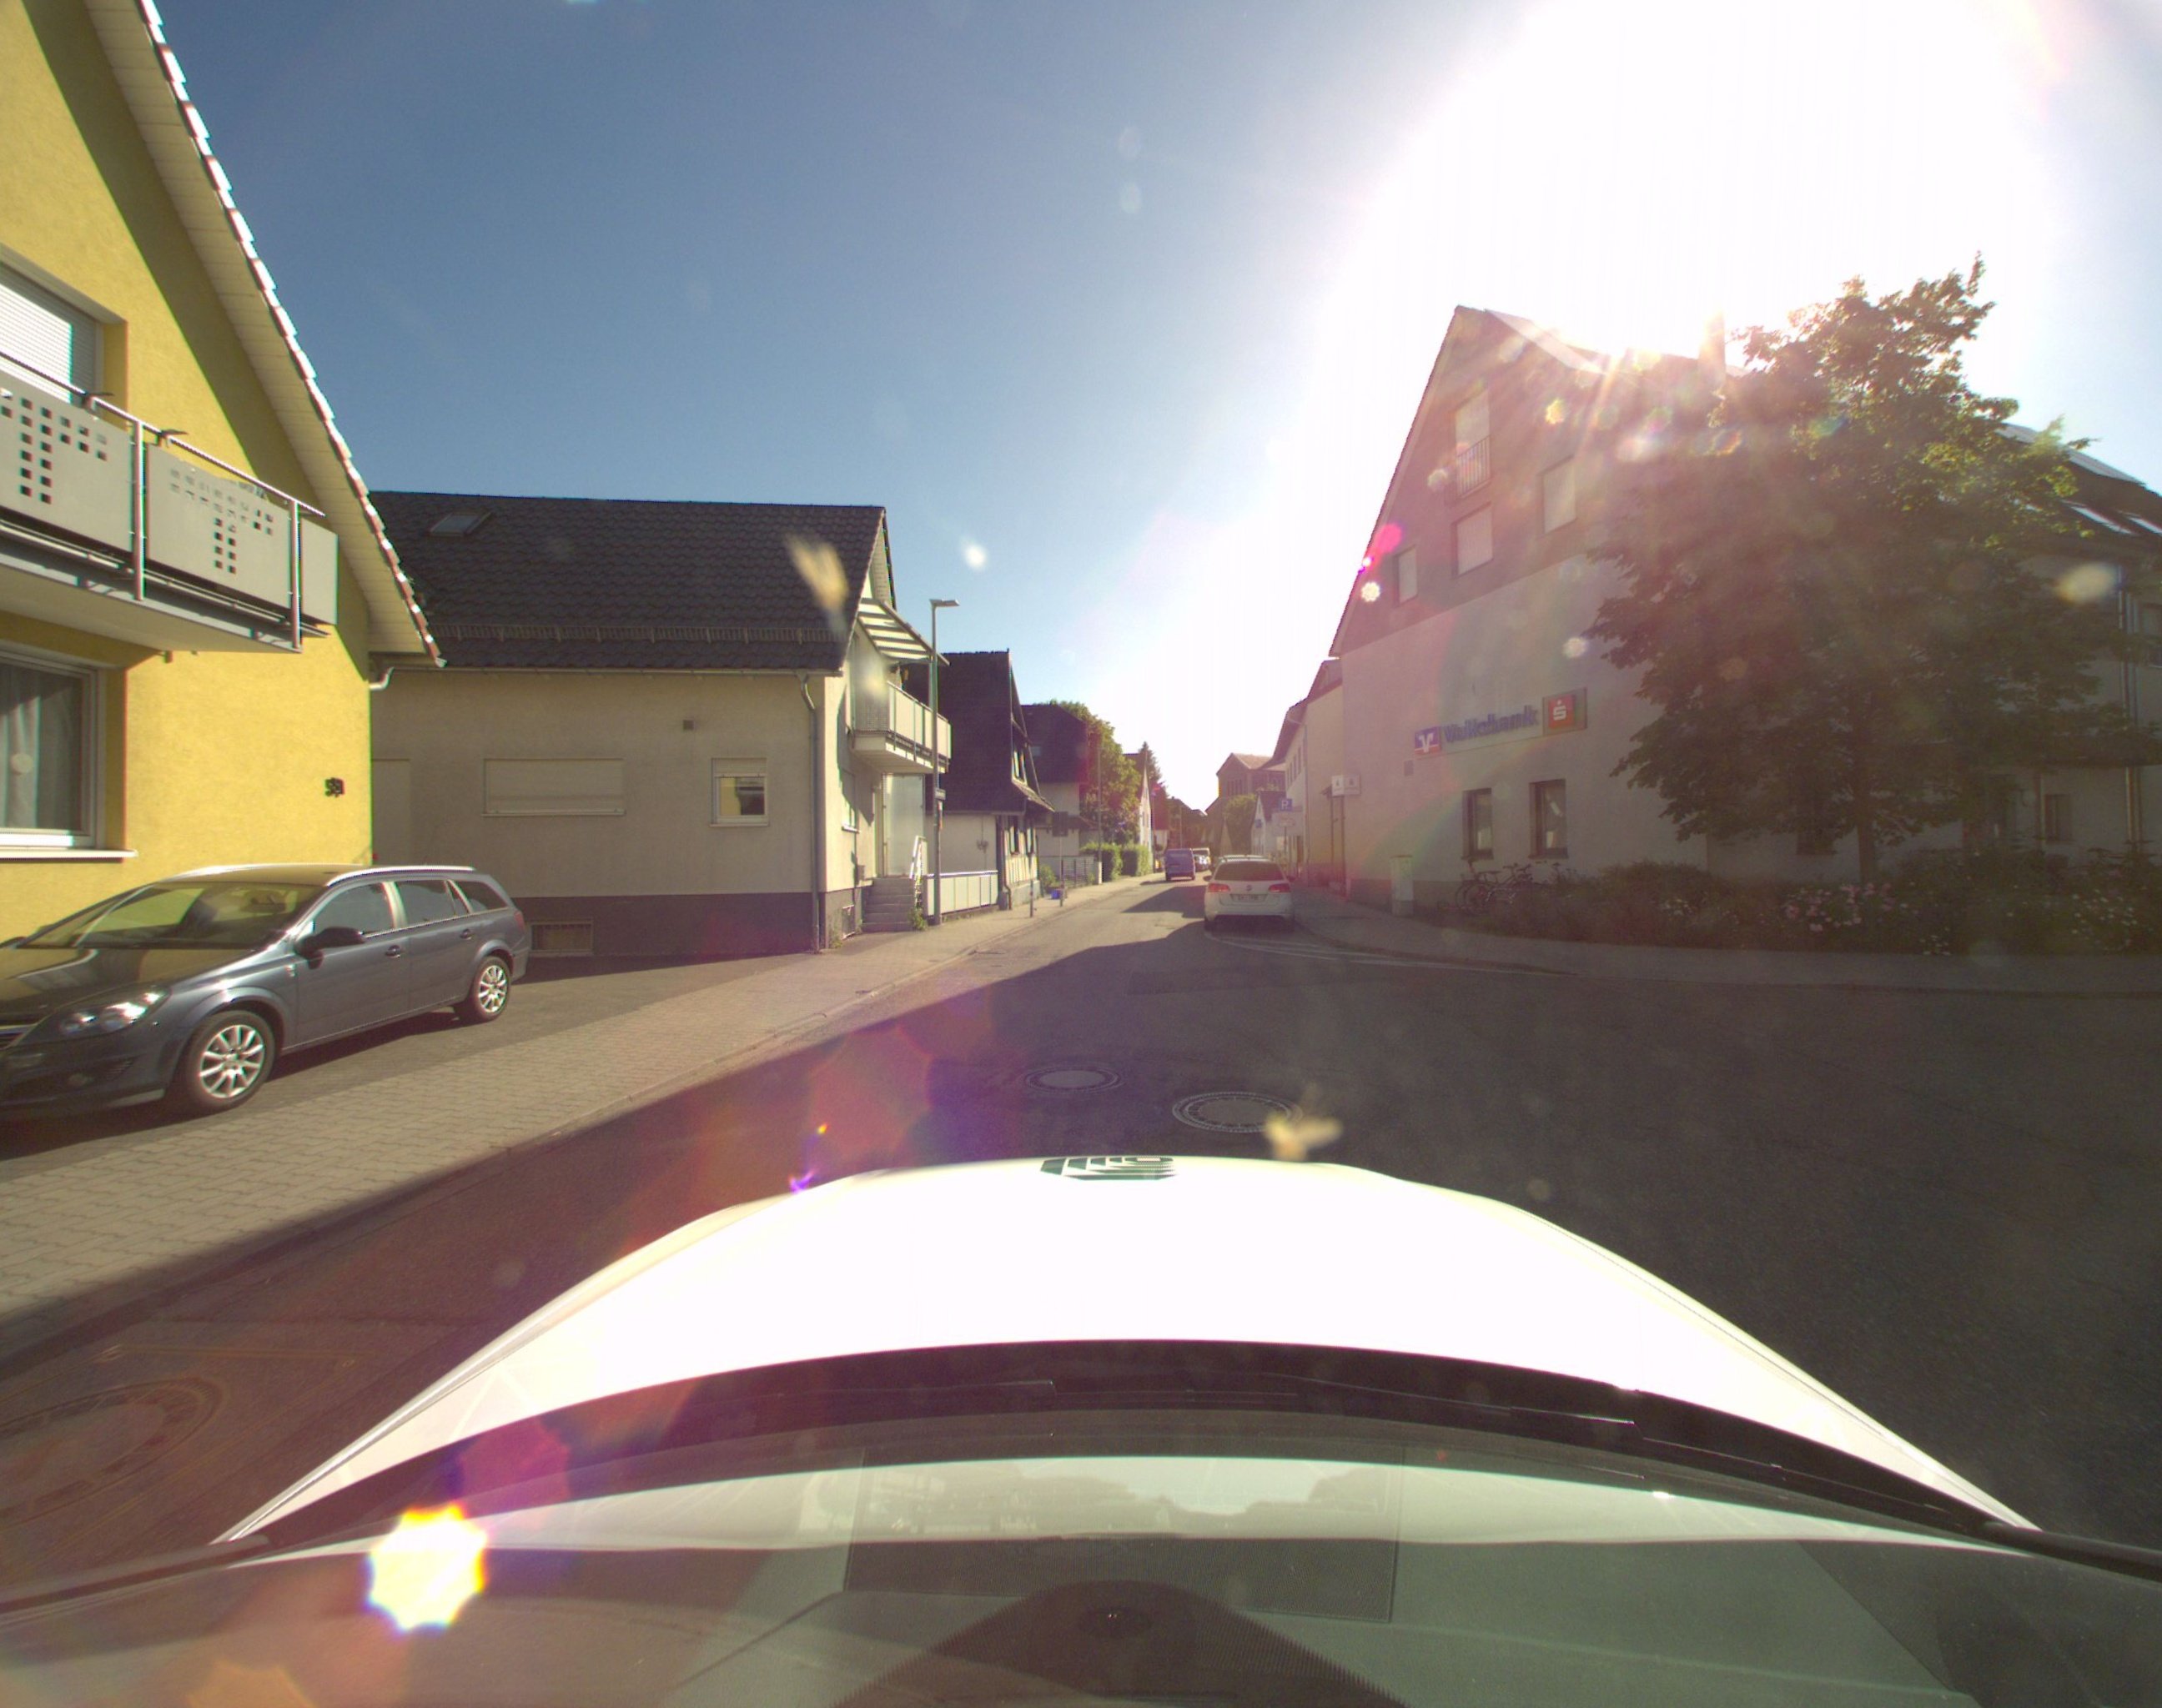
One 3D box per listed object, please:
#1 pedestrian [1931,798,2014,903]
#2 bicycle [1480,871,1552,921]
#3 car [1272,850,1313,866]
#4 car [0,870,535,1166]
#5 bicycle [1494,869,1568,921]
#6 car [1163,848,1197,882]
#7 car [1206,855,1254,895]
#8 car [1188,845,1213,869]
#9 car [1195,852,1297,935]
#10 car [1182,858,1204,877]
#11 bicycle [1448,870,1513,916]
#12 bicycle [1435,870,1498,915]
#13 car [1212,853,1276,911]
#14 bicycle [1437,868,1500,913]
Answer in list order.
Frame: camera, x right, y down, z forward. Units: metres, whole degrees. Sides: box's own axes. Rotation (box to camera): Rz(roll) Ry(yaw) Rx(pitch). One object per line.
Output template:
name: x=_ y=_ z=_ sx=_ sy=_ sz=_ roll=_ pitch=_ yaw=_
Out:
pedestrian: x=17.767 y=-0.068 z=16.249 sx=0.772 sy=2.014 sz=0.764 roll=-1 pitch=-1 yaw=-7
bicycle: x=8.366 y=0.806 z=15.683 sx=1.156 sy=0.920 sz=0.314 roll=-2 pitch=0 yaw=6
car: x=21.621 y=0.374 z=83.219 sx=3.879 sy=1.492 sz=1.856 roll=-2 pitch=-1 yaw=20
car: x=-6.197 y=0.879 z=6.168 sx=1.687 sy=1.445 sz=4.166 roll=0 pitch=0 yaw=-7
bicycle: x=8.405 y=0.765 z=15.239 sx=1.156 sy=0.920 sz=0.314 roll=-2 pitch=0 yaw=6
car: x=6.198 y=0.644 z=50.693 sx=1.892 sy=1.917 sz=5.081 roll=-2 pitch=0 yaw=8
car: x=6.028 y=0.804 z=33.003 sx=1.797 sy=1.475 sz=4.457 roll=0 pitch=0 yaw=10
car: x=12.854 y=0.333 z=87.015 sx=2.182 sy=2.390 sz=6.084 roll=-3 pitch=-1 yaw=11
car: x=3.559 y=0.743 z=17.511 sx=1.833 sy=1.514 sz=4.521 roll=-1 pitch=0 yaw=12
car: x=10.409 y=1.200 z=75.373 sx=1.703 sy=1.598 sz=3.938 roll=-2 pitch=0 yaw=11
bicycle: x=8.297 y=0.820 z=16.935 sx=1.154 sy=0.920 sz=0.314 roll=-2 pitch=0 yaw=17
bicycle: x=8.224 y=0.827 z=17.384 sx=1.154 sy=0.920 sz=0.314 roll=-2 pitch=0 yaw=17
car: x=4.626 y=0.728 z=23.531 sx=1.601 sy=1.521 sz=3.981 roll=0 pitch=0 yaw=8
bicycle: x=8.504 y=0.803 z=17.919 sx=1.211 sy=0.975 sz=0.322 roll=-2 pitch=0 yaw=22
